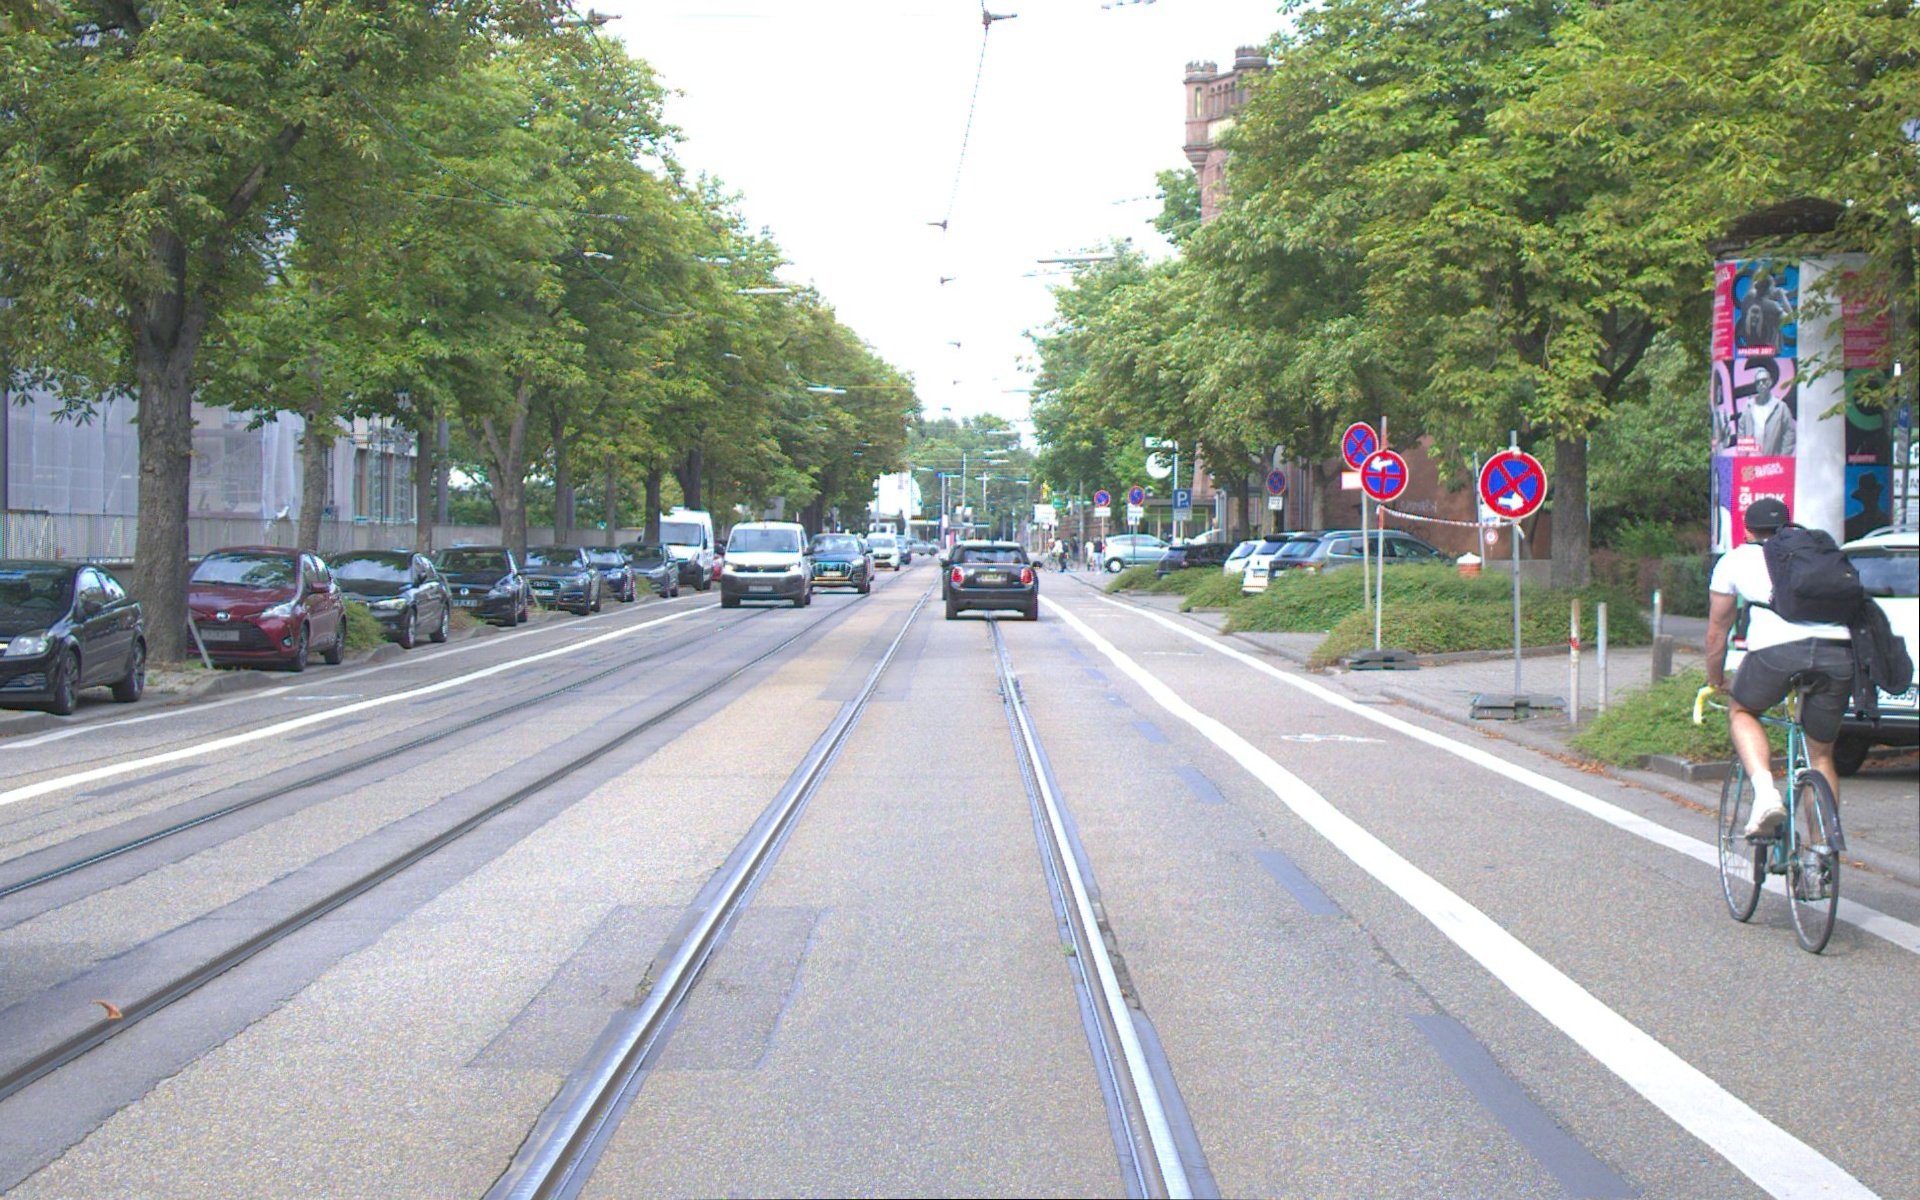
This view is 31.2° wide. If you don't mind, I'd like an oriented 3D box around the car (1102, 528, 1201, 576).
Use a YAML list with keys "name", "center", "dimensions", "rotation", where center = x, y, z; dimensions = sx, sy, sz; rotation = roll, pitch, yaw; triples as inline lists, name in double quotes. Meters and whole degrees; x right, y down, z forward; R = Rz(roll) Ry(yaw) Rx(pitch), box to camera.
- name: "car"
  center: [8.073, -2.021, 145.148]
  dimensions: [3.986, 1.904, 2.000]
  rotation: [1, 1, -2]

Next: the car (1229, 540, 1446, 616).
- name: "car"
  center: [7.430, -0.443, 67.941]
  dimensions: [3.986, 1.420, 1.885]
  rotation: [1, 1, -3]

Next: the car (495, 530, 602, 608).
- name: "car"
  center: [-8.666, -0.671, 72.723]
  dimensions: [1.802, 1.578, 4.031]
  rotation: [-1, 1, 0]

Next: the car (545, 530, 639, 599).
- name: "car"
  center: [-8.678, -0.856, 81.294]
  dimensions: [1.802, 1.578, 4.031]
  rotation: [-1, 1, 0]

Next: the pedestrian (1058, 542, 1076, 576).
- name: "pedestrian"
  center: [5.191, -1.976, 167.074]
  dimensions: [0.726, 1.640, 0.766]
  rotation: [2, 1, 10]

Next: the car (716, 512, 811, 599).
- name: "car"
  center: [-4.223, -0.978, 74.444]
  dimensions: [1.802, 1.817, 4.485]
  rotation: [-1, 1, 0]

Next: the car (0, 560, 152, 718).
- name: "car"
  center: [-9.006, 0.330, 32.499]
  dimensions: [1.802, 1.369, 4.031]
  rotation: [-1, 1, 0]

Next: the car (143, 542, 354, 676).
- name: "car"
  center: [-8.813, 0.075, 42.889]
  dimensions: [1.802, 1.578, 4.031]
  rotation: [-1, 1, 0]

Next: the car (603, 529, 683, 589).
- name: "car"
  center: [-8.553, -1.110, 93.086]
  dimensions: [1.802, 1.578, 4.031]
  rotation: [-1, 1, 0]

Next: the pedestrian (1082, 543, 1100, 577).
- name: "pedestrian"
  center: [6.400, -1.961, 167.587]
  dimensions: [0.726, 1.640, 0.766]
  rotation: [2, 1, 10]

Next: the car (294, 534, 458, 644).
- name: "car"
  center: [-8.745, -0.195, 51.757]
  dimensions: [1.802, 1.578, 4.031]
  rotation: [-1, 1, 0]

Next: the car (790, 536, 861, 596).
- name: "car"
  center: [-3.690, -0.959, 94.995]
  dimensions: [1.802, 1.616, 4.485]
  rotation: [-1, 1, 0]

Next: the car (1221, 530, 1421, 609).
- name: "car"
  center: [7.675, -0.658, 73.341]
  dimensions: [3.986, 1.622, 1.885]
  rotation: [1, 1, -3]

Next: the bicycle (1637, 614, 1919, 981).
- name: "bicycle"
  center: [3.207, 0.714, 13.368]
  dimensions: [0.657, 1.244, 2.125]
  rotation: [1, 1, -1]

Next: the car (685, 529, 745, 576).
- name: "car"
  center: [-8.437, -1.653, 118.687]
  dimensions: [1.802, 1.578, 4.031]
  rotation: [-1, 1, 0]

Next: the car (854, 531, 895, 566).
- name: "car"
  center: [-3.988, -2.403, 160.620]
  dimensions: [1.802, 1.616, 4.485]
  rotation: [-1, 1, 0]

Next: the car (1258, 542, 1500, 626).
- name: "car"
  center: [7.410, -0.290, 61.041]
  dimensions: [3.986, 1.420, 1.885]
  rotation: [1, 1, -3]

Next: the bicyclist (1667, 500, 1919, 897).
- name: "bicyclist"
  center: [3.218, 0.352, 13.324]
  dimensions: [0.657, 1.458, 1.179]
  rotation: [1, 1, -1]

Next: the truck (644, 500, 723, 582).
- name: "truck"
  center: [-8.507, -1.815, 106.150]
  dimensions: [2.071, 2.462, 4.899]
  rotation: [-1, 1, 0]

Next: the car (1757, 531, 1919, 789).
- name: "car"
  center: [6.937, 0.355, 22.433]
  dimensions: [3.437, 1.567, 1.560]
  rotation: [0, 1, -38]

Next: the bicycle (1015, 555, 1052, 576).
- name: "bicycle"
  center: [3.586, -1.696, 167.190]
  dimensions: [1.721, 0.988, 0.658]
  rotation: [2, 1, 9]

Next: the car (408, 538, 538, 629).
- name: "car"
  center: [-8.811, -0.330, 62.492]
  dimensions: [1.802, 1.578, 4.031]
  rotation: [-1, 1, 0]

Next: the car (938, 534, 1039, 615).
- name: "car"
  center: [0.502, -0.505, 64.155]
  dimensions: [1.793, 1.418, 4.000]
  rotation: [1, 1, 0]

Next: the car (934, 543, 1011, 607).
- name: "car"
  center: [0.302, -0.630, 83.899]
  dimensions: [1.793, 1.465, 4.000]
  rotation: [2, 1, 0]

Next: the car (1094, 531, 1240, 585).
- name: "car"
  center: [5.947, -1.210, 98.985]
  dimensions: [3.986, 1.503, 1.885]
  rotation: [1, 1, -3]
